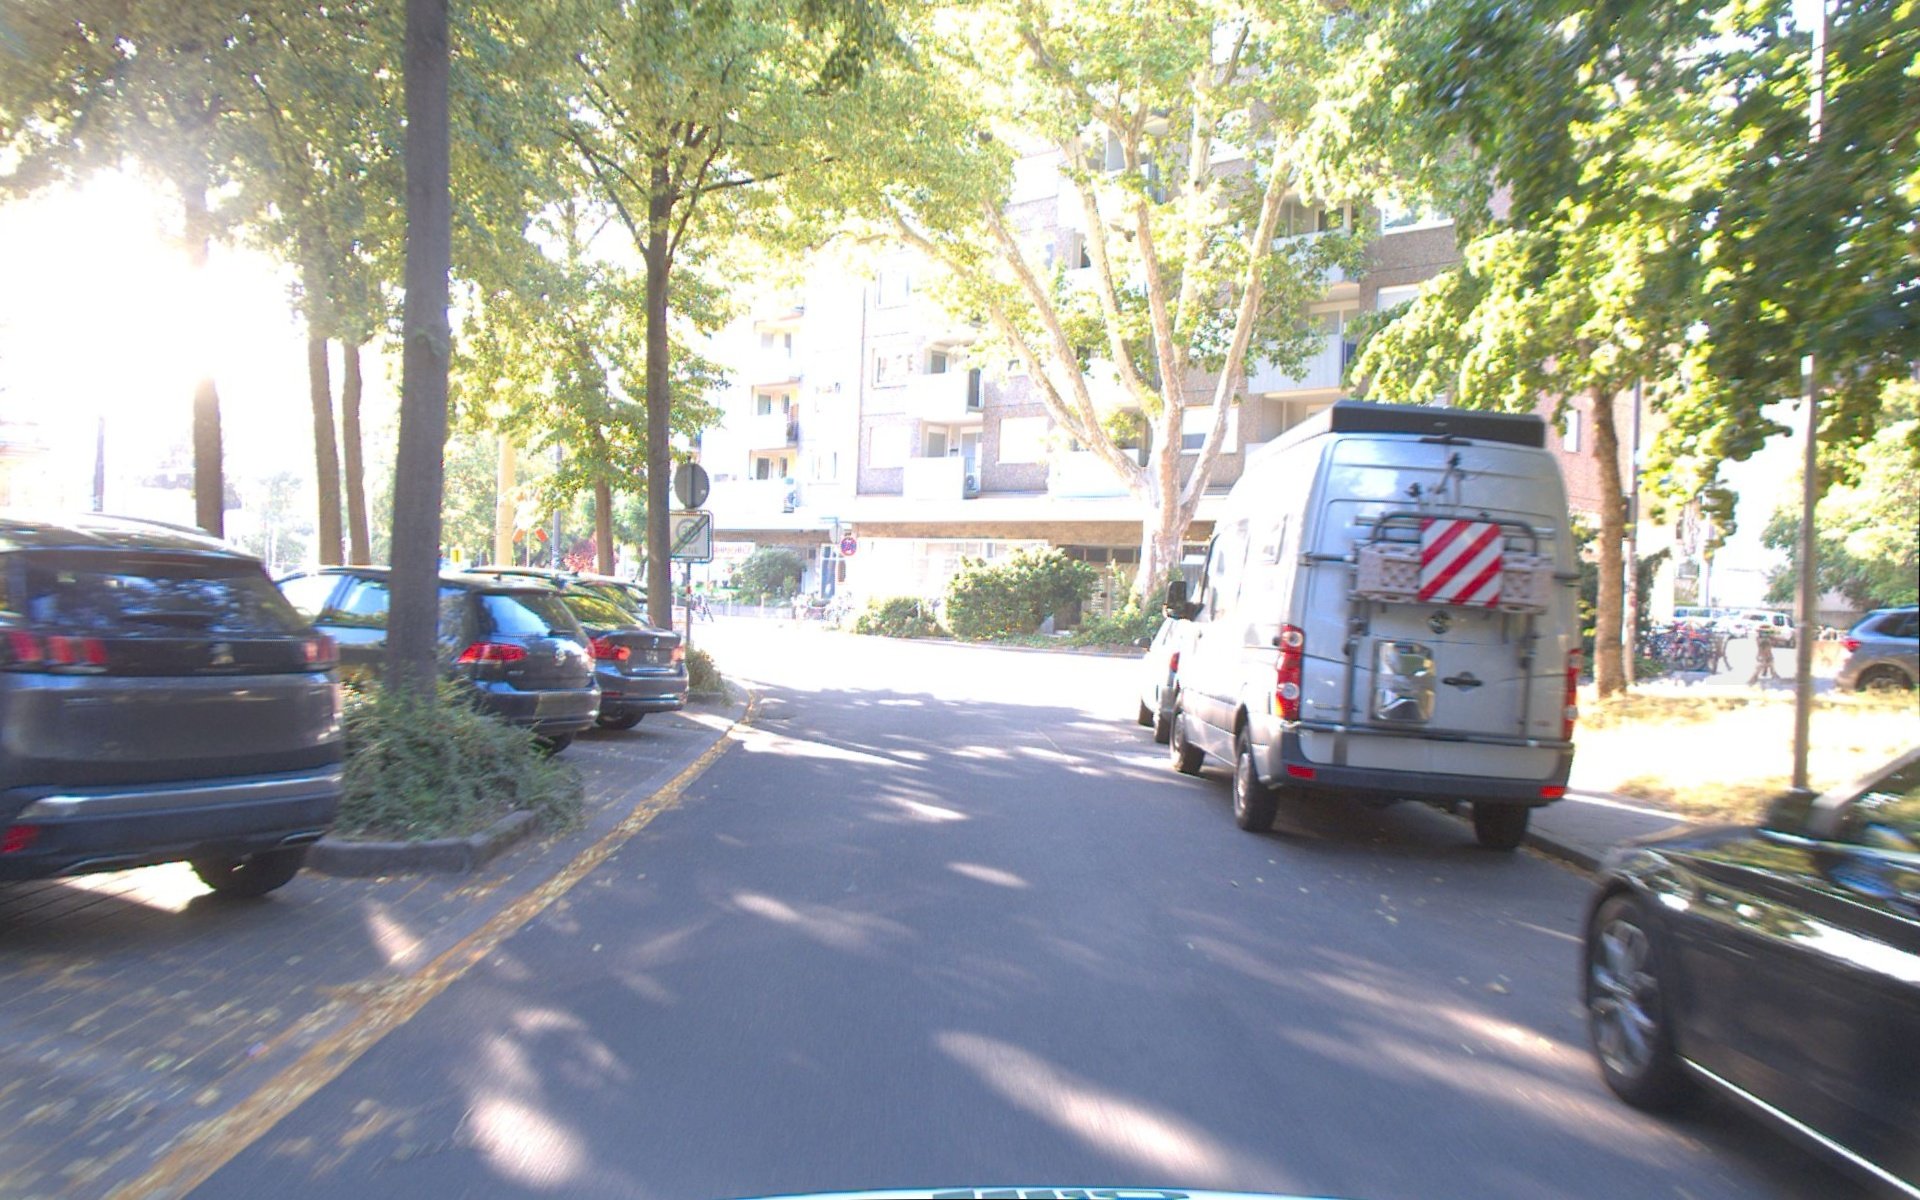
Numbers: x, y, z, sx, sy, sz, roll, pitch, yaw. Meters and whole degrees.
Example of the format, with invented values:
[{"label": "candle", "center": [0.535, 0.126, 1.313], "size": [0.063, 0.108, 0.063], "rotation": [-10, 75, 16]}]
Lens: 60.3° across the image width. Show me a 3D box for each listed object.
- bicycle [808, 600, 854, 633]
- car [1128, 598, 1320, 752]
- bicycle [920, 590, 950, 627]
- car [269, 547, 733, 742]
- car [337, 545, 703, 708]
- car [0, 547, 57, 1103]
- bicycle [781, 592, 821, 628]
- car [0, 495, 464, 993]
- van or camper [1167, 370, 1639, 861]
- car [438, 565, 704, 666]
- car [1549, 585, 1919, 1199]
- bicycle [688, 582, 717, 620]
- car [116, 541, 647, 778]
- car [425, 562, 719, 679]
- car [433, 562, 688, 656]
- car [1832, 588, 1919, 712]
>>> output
[{"label": "bicycle", "center": [-3.851, 0.493, 49.370], "size": [0.538, 0.920, 1.714], "rotation": [1, 1, -36]}, {"label": "car", "center": [2.954, 0.782, 19.244], "size": [1.646, 1.471, 3.873], "rotation": [4, 1, 2]}, {"label": "bicycle", "center": [-0.738, 0.244, 48.726], "size": [0.345, 1.056, 1.039], "rotation": [1, 1, -36]}, {"label": "car", "center": [-4.528, 0.392, 16.339], "size": [4.104, 1.463, 1.831], "rotation": [5, 0, 23]}, {"label": "car", "center": [-5.185, 0.286, 19.509], "size": [3.796, 1.519, 1.830], "rotation": [5, 0, 25]}, {"label": "car", "center": [-4.700, 0.429, 4.597], "size": [4.068, 1.484, 1.769], "rotation": [5, 0, 26]}, {"label": "bicycle", "center": [-4.906, 0.307, 51.042], "size": [0.630, 1.040, 2.074], "rotation": [1, 1, -23]}, {"label": "car", "center": [-4.565, 0.354, 7.356], "size": [4.261, 1.654, 1.939], "rotation": [5, 0, 26]}, {"label": "van or camper", "center": [2.963, 0.064, 12.628], "size": [2.041, 2.810, 5.846], "rotation": [2, 1, 1]}, {"label": "car", "center": [-6.542, 0.249, 27.971], "size": [3.942, 1.430, 1.776], "rotation": [3, 0, 13]}, {"label": "car", "center": [2.960, 0.775, 3.609], "size": [1.646, 1.552, 4.489], "rotation": [2, 1, -1]}, {"label": "bicycle", "center": [-8.910, 0.033, 57.205], "size": [0.629, 1.247, 2.076], "rotation": [1, 1, -19]}, {"label": "car", "center": [-4.708, 0.425, 13.496], "size": [3.783, 1.463, 1.831], "rotation": [5, 0, 23]}, {"label": "car", "center": [-5.869, 0.298, 25.163], "size": [3.889, 1.388, 1.776], "rotation": [5, 0, 14]}, {"label": "car", "center": [-7.380, 0.162, 30.664], "size": [4.190, 1.454, 1.776], "rotation": [3, 0, 15]}, {"label": "car", "center": [13.813, 0.742, 21.340], "size": [4.204, 1.579, 1.730], "rotation": [2, -3, 45]}]
